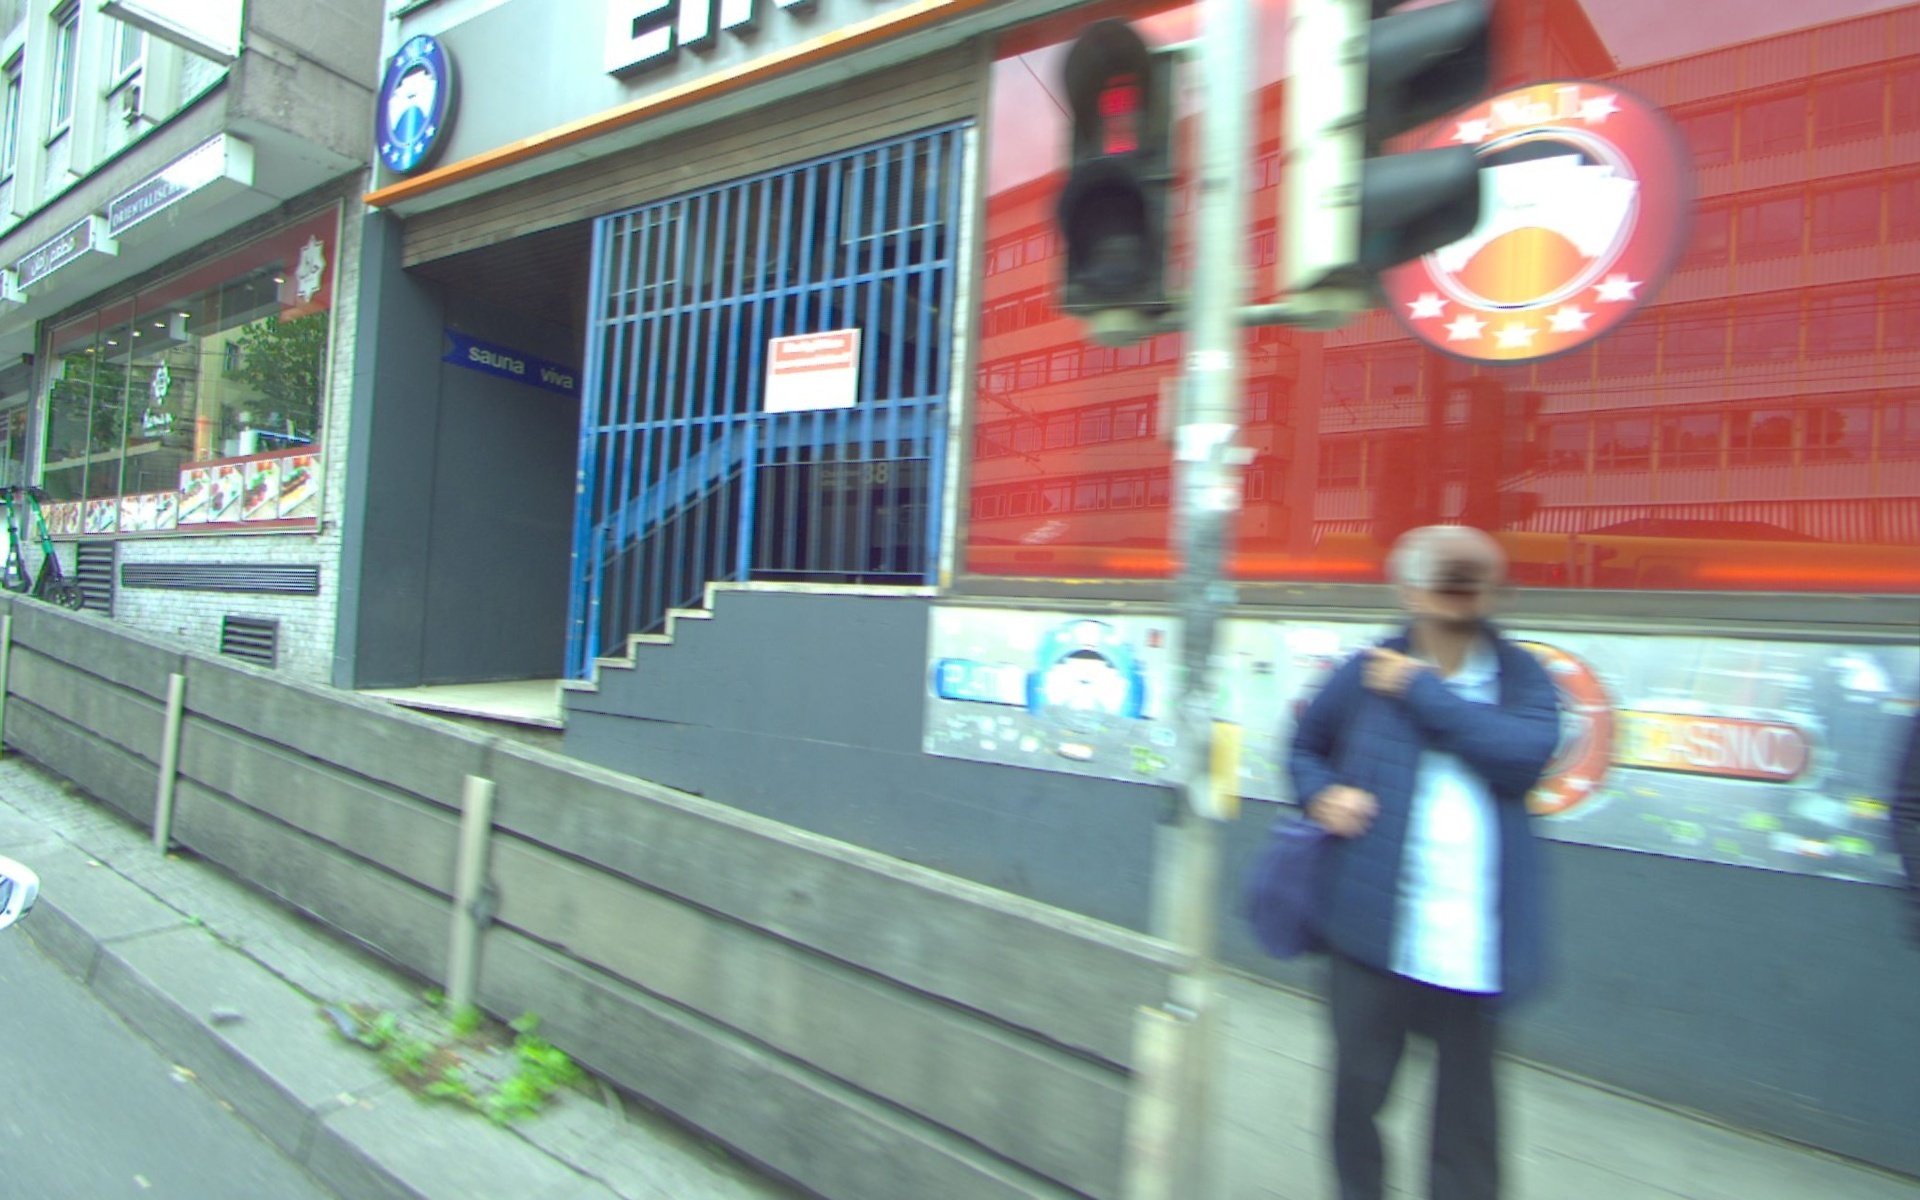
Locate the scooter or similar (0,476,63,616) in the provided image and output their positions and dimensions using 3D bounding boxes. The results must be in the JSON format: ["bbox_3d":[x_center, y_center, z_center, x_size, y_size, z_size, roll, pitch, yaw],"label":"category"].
[{"bbox_3d":[-10.837,-0.633,11.397,1.160,1.494,0.668,6,0,35],"label":"scooter or similar"}]

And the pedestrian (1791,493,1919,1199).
[{"bbox_3d":[2.348,0.714,2.118,0.643,1.837,0.724,6,10,32],"label":"pedestrian"}]

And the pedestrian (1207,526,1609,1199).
[{"bbox_3d":[0.949,0.703,2.168,0.581,1.676,0.561,6,6,31],"label":"pedestrian"}]

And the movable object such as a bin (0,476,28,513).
[{"bbox_3d":[-81.417,-9.027,85.869,1.972,2.875,2.019,4,1,-23],"label":"movable object such as a bin"}]

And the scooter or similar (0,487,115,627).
[{"bbox_3d":[-9.130,-0.441,10.071,1.312,1.264,0.631,6,0,35],"label":"scooter or similar"}]
